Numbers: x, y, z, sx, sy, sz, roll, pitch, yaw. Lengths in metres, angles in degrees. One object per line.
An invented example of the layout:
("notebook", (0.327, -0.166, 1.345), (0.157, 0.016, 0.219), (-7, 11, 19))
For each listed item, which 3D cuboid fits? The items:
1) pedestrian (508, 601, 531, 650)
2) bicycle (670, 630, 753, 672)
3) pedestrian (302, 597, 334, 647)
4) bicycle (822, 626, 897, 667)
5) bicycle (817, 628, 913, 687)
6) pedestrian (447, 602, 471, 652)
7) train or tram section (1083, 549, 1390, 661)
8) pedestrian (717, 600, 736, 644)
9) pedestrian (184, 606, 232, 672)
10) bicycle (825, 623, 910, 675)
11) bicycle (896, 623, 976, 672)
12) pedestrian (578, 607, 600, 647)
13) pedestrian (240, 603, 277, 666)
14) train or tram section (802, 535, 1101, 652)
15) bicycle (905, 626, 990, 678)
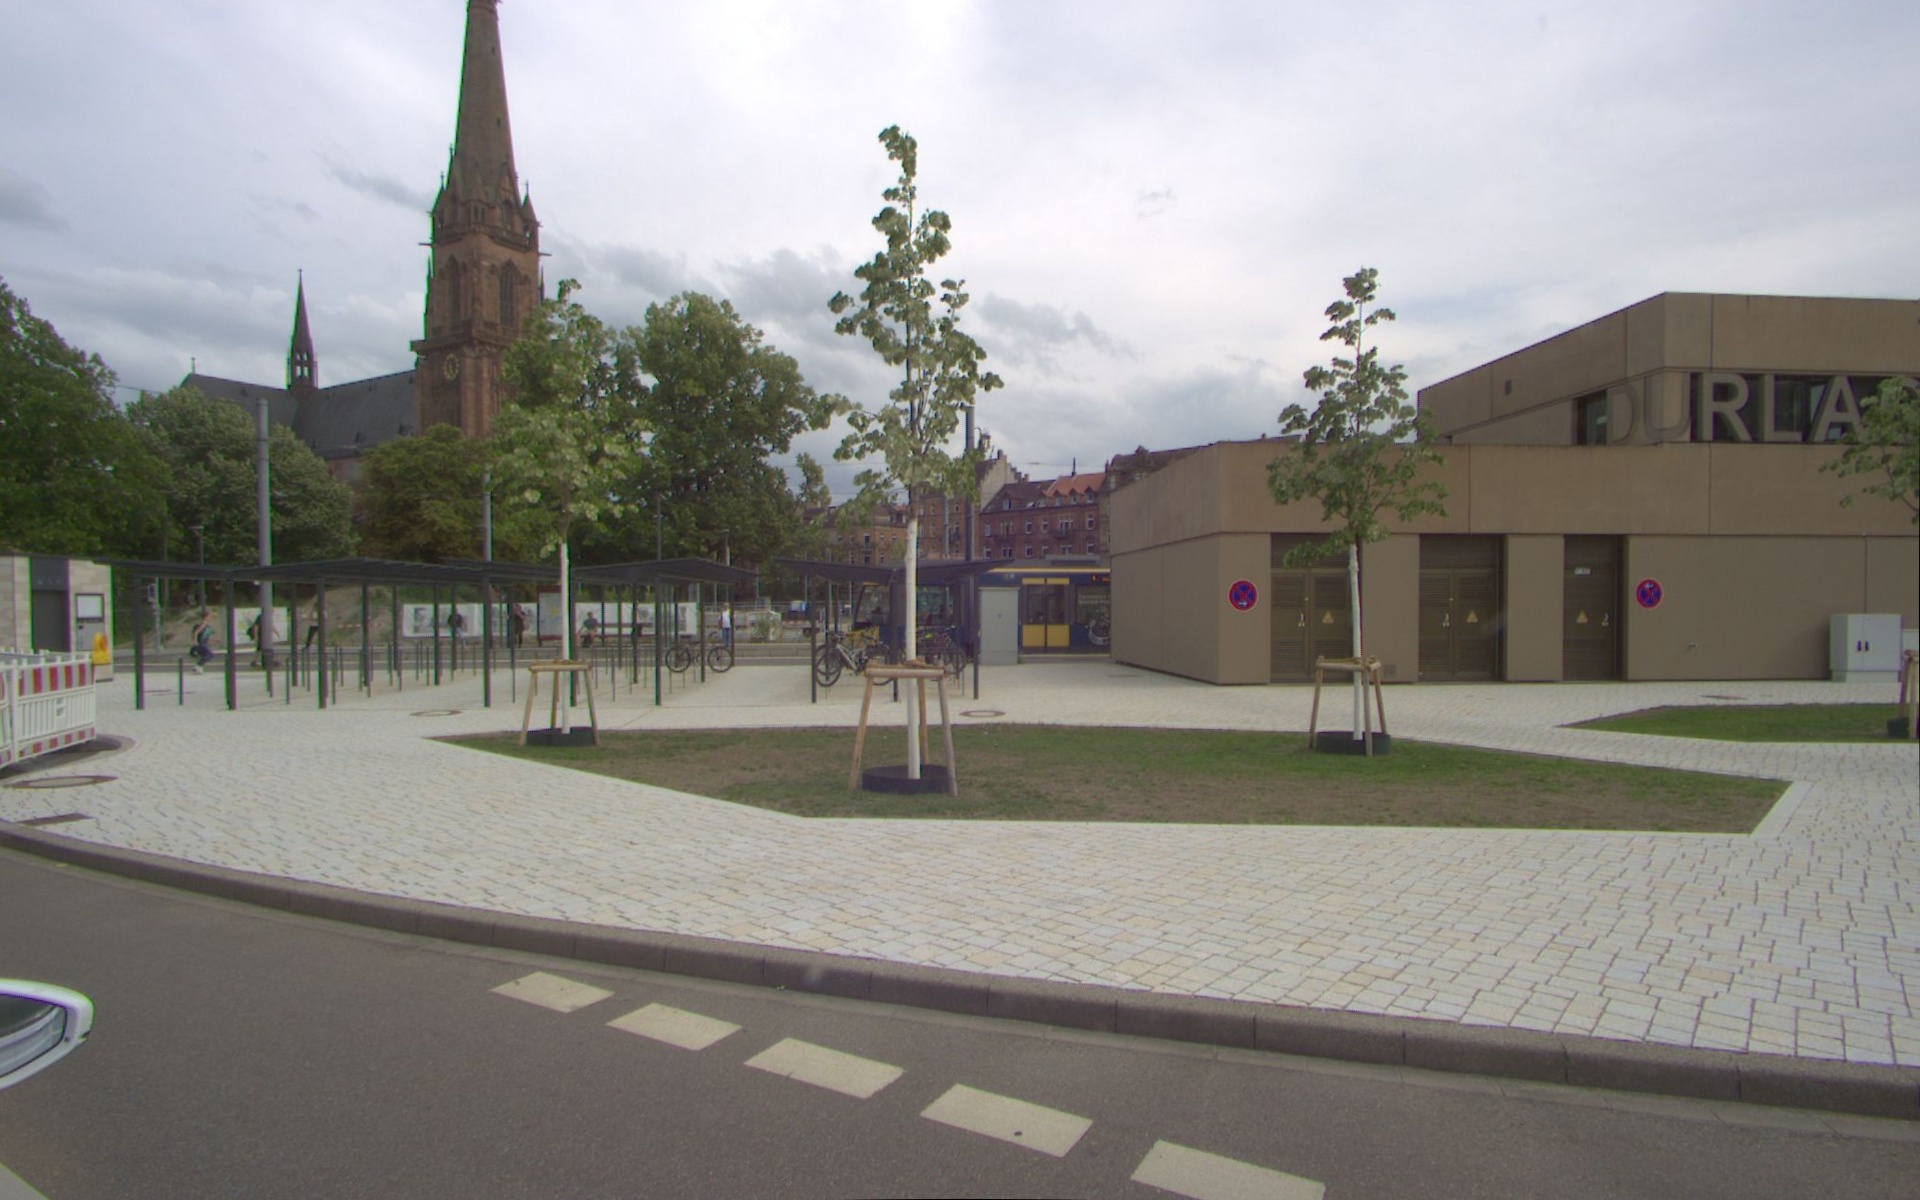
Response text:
("pedestrian", (-16.629, 0.970, 37.788), (0.665, 1.825, 0.522), (2, 2, -11))
("bicycle", (-6.140, 1.259, 24.817), (1.929, 0.968, 0.583), (2, 1, -7))
("pedestrian", (-23.958, 0.823, 37.356), (0.743, 1.825, 0.817), (3, 2, 42))
("bicycle", (-2.657, 1.231, 26.503), (1.929, 0.983, 0.583), (2, 1, -7))
("bicycle", (-2.014, 1.215, 21.249), (1.931, 1.172, 0.583), (2, 1, -13))
("pedestrian", (-18.747, 1.012, 37.502), (0.665, 1.825, 0.522), (2, 2, -11))
("train or tram section", (9.012, 0.172, 33.323), (9.248, 3.256, 3.061), (2, 1, -4))
("pedestrian", (-9.192, 0.866, 39.387), (0.665, 1.701, 0.709), (2, 1, -11))
("pedestrian", (-19.051, 0.990, 25.385), (0.782, 1.625, 0.538), (2, 1, -5))
("bicycle", (-2.228, 1.178, 24.026), (1.931, 1.172, 0.583), (2, 1, -13))
("bicycle", (-0.605, 1.218, 25.513), (1.931, 1.172, 0.583), (2, 1, -13))
("pedestrian", (-14.103, 1.023, 38.069), (0.665, 1.505, 0.689), (2, 1, -11))
("pedestrian", (-18.967, 0.920, 27.080), (0.618, 1.677, 0.531), (2, 1, -5))
("train or tram section", (-0.327, -0.187, 32.580), (9.189, 3.321, 3.061), (2, 1, -4))
("bicycle", (-0.302, 1.244, 24.091), (1.931, 1.172, 0.583), (2, 1, -13))
